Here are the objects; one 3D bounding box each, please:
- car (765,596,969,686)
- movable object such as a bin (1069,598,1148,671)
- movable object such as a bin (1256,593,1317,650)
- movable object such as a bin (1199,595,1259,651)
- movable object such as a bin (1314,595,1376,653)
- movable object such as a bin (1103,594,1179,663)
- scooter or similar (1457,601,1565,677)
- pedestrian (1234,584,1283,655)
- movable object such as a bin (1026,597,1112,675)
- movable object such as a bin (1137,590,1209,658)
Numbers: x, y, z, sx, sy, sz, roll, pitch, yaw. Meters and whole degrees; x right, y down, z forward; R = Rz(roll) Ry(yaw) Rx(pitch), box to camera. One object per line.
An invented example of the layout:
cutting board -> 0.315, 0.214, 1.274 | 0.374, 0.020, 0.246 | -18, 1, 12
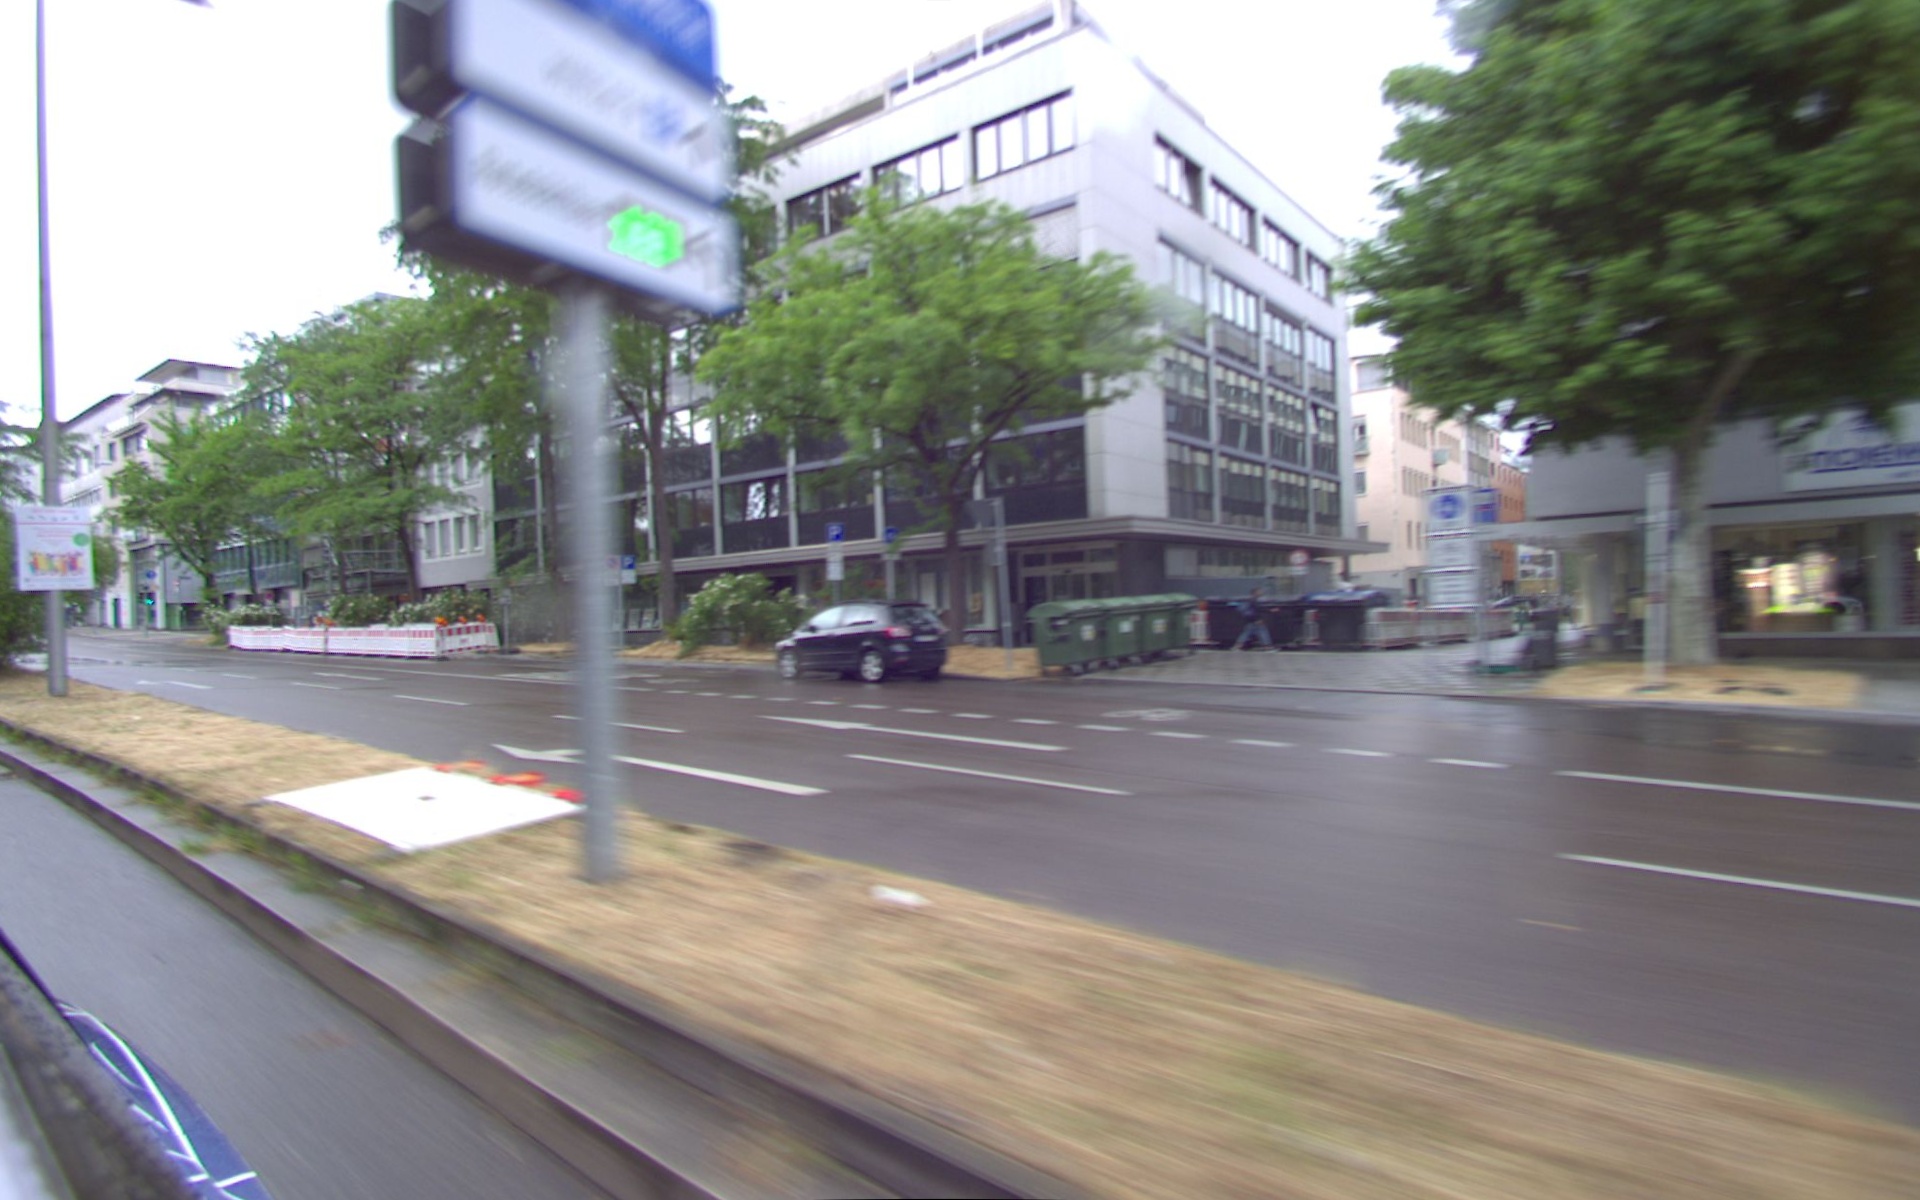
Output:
car -> -1.932, 0.769, 20.378 | 4.020, 1.648, 1.761 | -1, -1, 39
movable object such as a bin -> 3.065, 0.685, 20.865 | 1.088, 1.437, 1.265 | -1, 0, 42
movable object such as a bin -> 8.534, 0.545, 26.419 | 1.278, 1.446, 1.077 | -1, 0, 33
movable object such as a bin -> 7.262, 0.608, 27.296 | 1.278, 1.446, 1.077 | -1, 0, 33
movable object such as a bin -> 9.828, 0.601, 25.805 | 1.278, 1.446, 1.077 | -1, 0, 33
movable object such as a bin -> 3.919, 0.601, 21.894 | 1.088, 1.437, 1.265 | -1, 0, 42
scooter or similar -> 8.986, 0.638, 16.513 | 1.323, 1.130, 0.767 | -5, 0, 43
pedestrian -> 7.344, 0.462, 24.893 | 0.895, 1.701, 0.860 | -1, 0, 38
movable object such as a bin -> 2.135, 0.680, 19.789 | 1.088, 1.437, 1.345 | -1, 0, 42
movable object such as a bin -> 4.827, 0.525, 22.933 | 1.088, 1.499, 1.265 | -1, 0, 42
